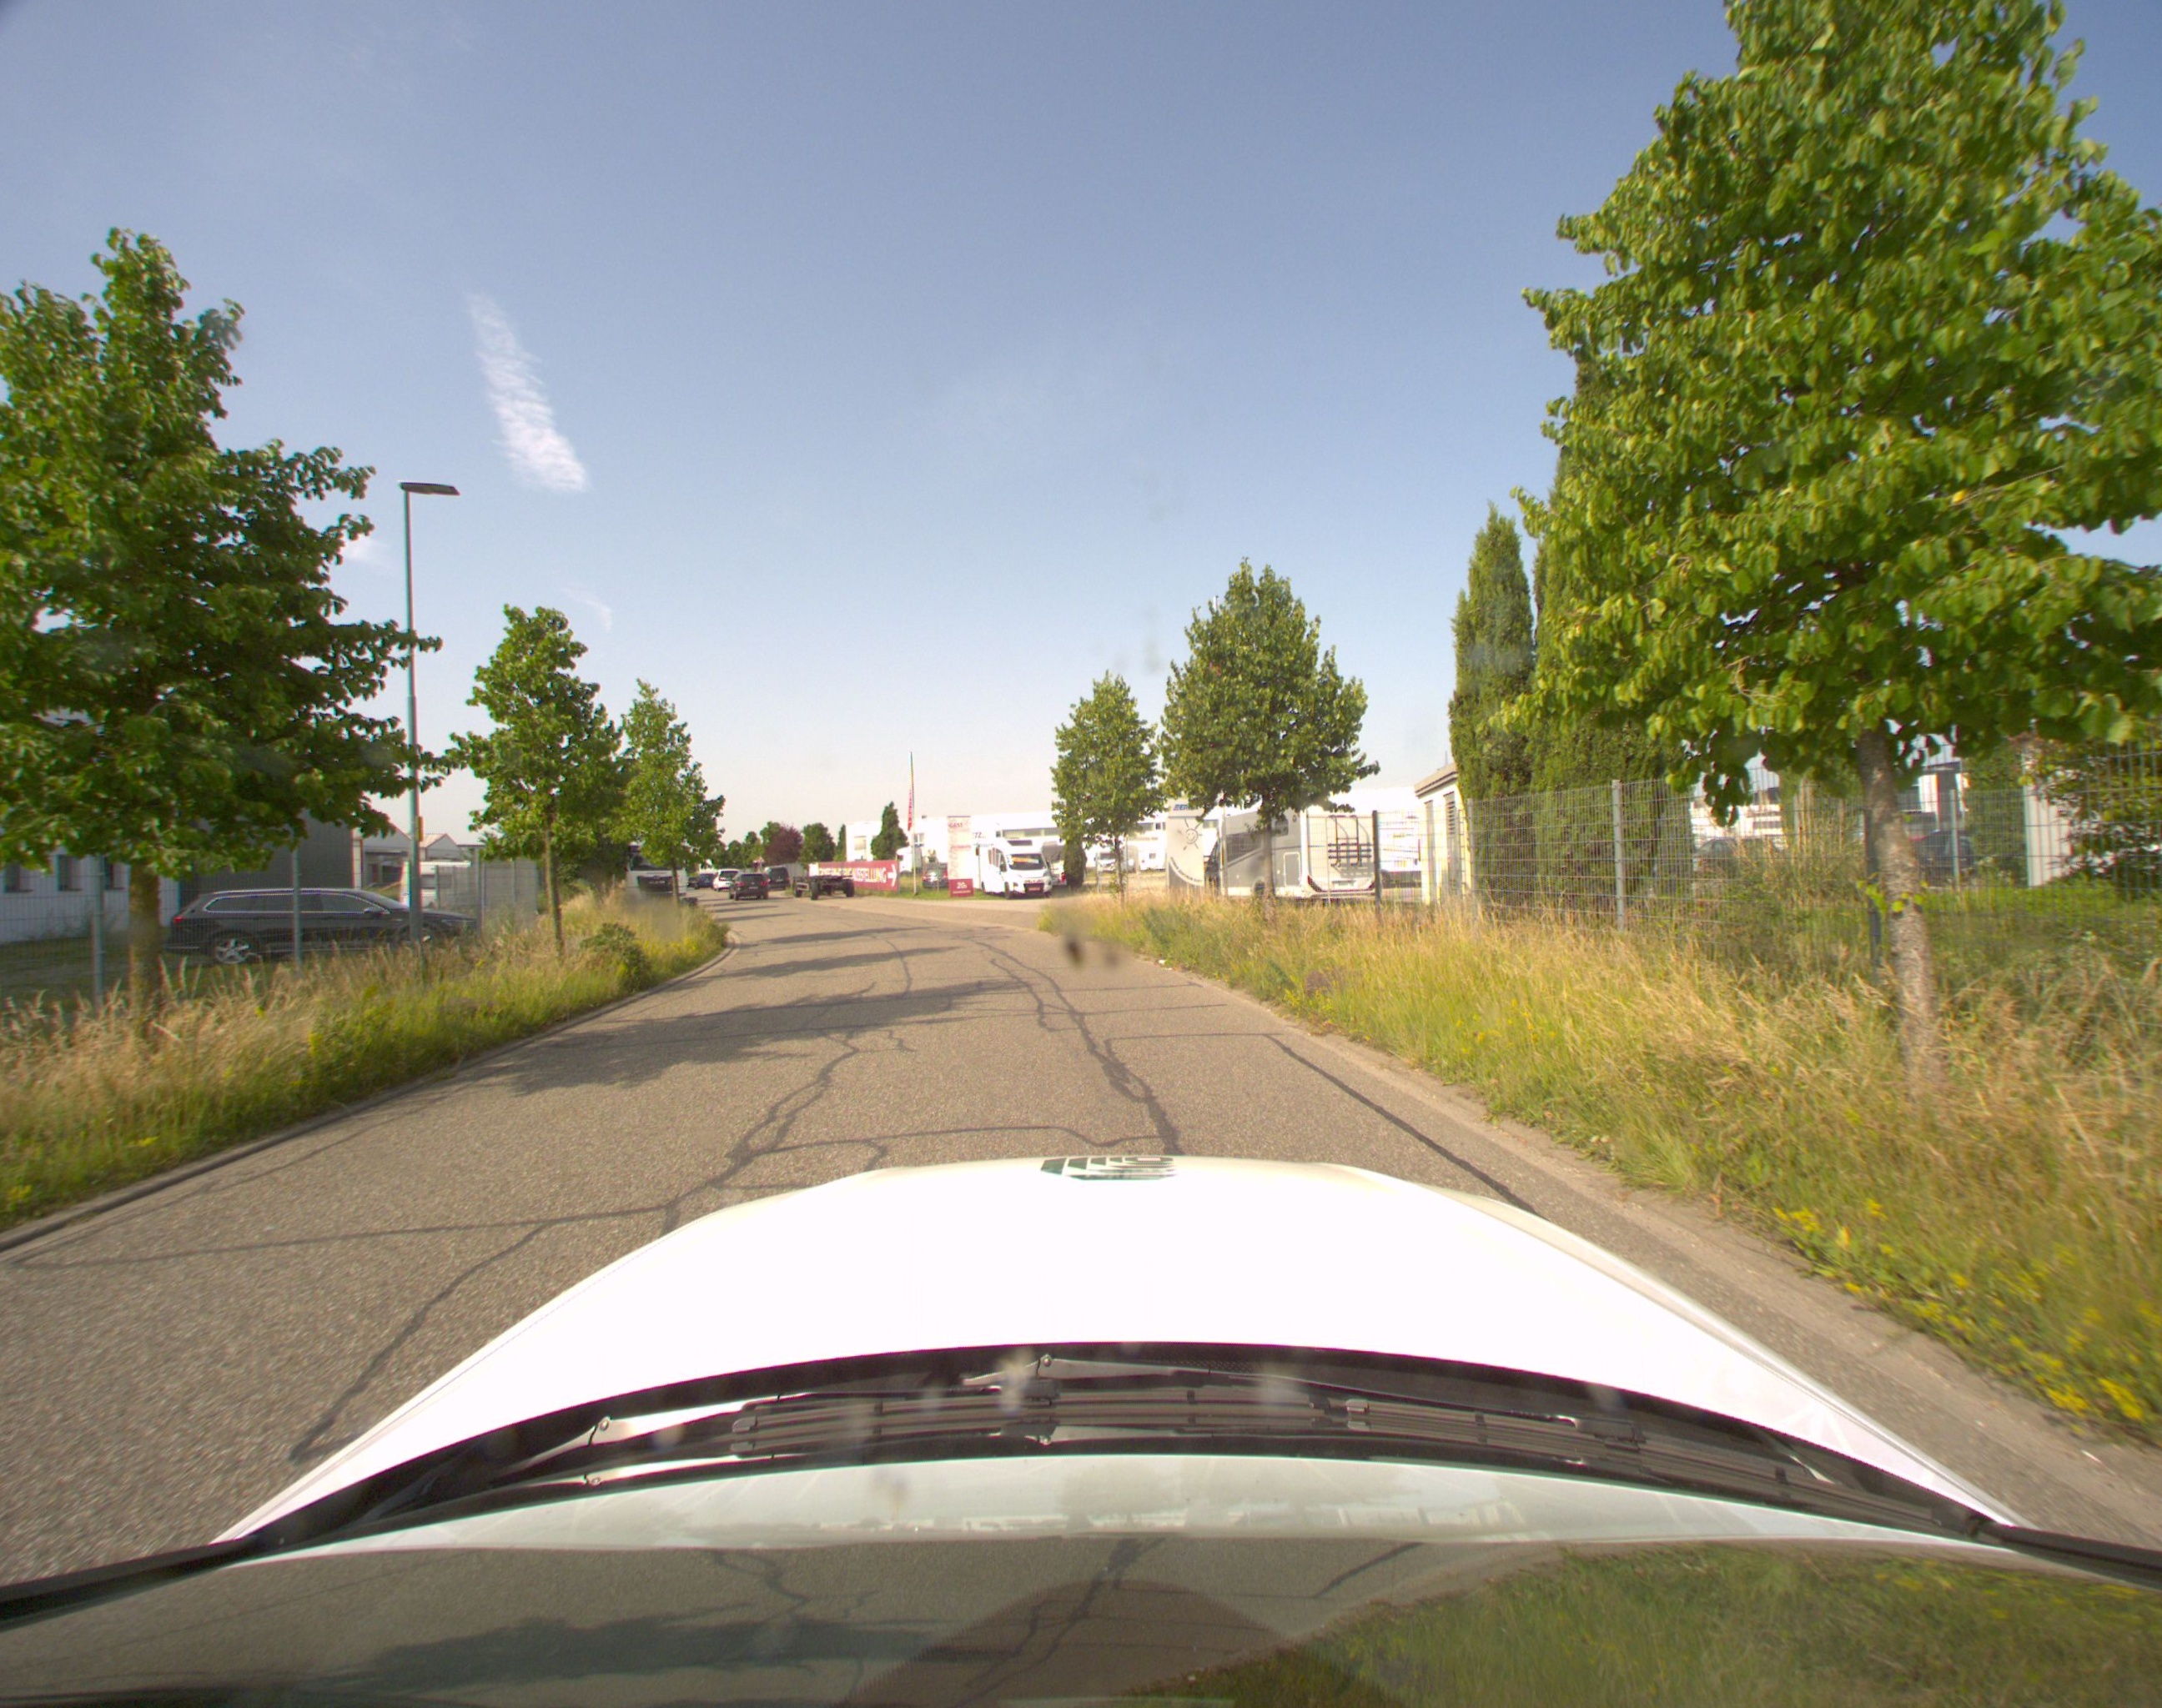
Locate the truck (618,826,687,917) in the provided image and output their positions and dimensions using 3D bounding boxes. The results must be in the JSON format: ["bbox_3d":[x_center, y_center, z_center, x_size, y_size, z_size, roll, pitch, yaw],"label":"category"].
[{"bbox_3d":[-21.901,0.889,41.678,2.641,3.929,12.800,-1,-1,-28],"label":"truck"}]

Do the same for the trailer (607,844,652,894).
[{"bbox_3d":[-43.824,1.477,79.271,3.424,4.340,13.789,-2,-1,-29],"label":"trailer"}]

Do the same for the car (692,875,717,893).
[{"bbox_3d":[-38.025,3.019,82.243,2.006,1.640,3.962,-1,-1,-29],"label":"car"}]

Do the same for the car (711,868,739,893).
[{"bbox_3d":[-29.779,2.151,67.973,2.003,1.899,4.430,-1,0,-25],"label":"car"}]

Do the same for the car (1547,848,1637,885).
[{"bbox_3d":[20.332,0.484,32.598,1.699,1.379,4.011,0,0,10],"label":"car"}]

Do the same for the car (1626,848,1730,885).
[{"bbox_3d":[23.332,0.471,32.011,1.699,1.379,4.011,0,0,10],"label":"car"}]

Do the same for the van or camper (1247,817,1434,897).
[{"bbox_3d":[10.764,0.159,34.446,7.214,3.032,2.592,-2,-1,10],"label":"van or camper"}]

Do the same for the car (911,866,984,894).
[{"bbox_3d":[-7.871,1.505,48.346,2.145,1.477,4.025,-2,-1,31],"label":"car"}]

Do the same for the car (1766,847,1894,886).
[{"bbox_3d":[28.171,0.450,30.822,1.699,1.379,4.011,0,0,10],"label":"car"}]

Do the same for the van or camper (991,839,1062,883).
[{"bbox_3d":[-3.974,0.472,62.072,2.777,3.084,8.003,-2,0,16],"label":"van or camper"}]

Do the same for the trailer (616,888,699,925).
[{"bbox_3d":[-16.185,1.916,30.967,2.590,1.100,5.151,-1,-1,-30],"label":"trailer"}]

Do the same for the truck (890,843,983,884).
[{"bbox_3d":[-15.194,1.030,85.743,9.218,3.972,2.468,-2,0,13],"label":"truck"}]

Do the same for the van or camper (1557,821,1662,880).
[{"bbox_3d":[25.407,-0.107,39.520,2.202,2.525,6.634,-2,-1,14],"label":"van or camper"}]

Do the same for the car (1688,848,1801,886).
[{"bbox_3d":[25.662,0.461,31.668,1.699,1.379,4.011,0,0,10],"label":"car"}]

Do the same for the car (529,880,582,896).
[{"bbox_3d":[-51.025,3.306,79.134,4.004,1.340,1.605,-2,0,-23],"label":"car"}]

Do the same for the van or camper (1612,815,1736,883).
[{"bbox_3d":[27.563,-0.155,38.225,2.304,2.864,6.634,-2,-1,14],"label":"van or camper"}]

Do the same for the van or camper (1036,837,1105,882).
[{"bbox_3d":[-0.647,0.358,61.187,2.927,3.084,8.003,-2,0,16],"label":"van or camper"}]

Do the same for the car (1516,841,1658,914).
[{"bbox_3d":[12.520,0.523,20.437,1.711,1.643,4.012,0,0,11],"label":"car"}]

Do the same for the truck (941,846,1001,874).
[{"bbox_3d":[-10.357,0.505,77.734,2.431,2.471,8.038,-2,0,17],"label":"truck"}]

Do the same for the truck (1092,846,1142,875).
[{"bbox_3d":[3.374,0.521,73.900,2.431,2.471,8.038,-2,0,17],"label":"truck"}]

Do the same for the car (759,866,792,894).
[{"bbox_3d":[-24.105,1.992,64.173,1.829,1.978,3.964,-5,2,-27],"label":"car"}]

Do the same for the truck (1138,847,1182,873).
[{"bbox_3d":[7.391,0.507,75.535,2.431,2.265,8.038,-2,0,17],"label":"truck"}]

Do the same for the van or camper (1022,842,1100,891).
[{"bbox_3d":[-1.007,0.628,46.761,2.464,2.559,6.654,-2,0,16],"label":"van or camper"}]

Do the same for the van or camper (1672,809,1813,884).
[{"bbox_3d":[30.602,-0.288,38.048,2.466,3.129,6.634,-2,-1,14],"label":"van or camper"}]

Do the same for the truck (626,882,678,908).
[{"bbox_3d":[-25.803,2.381,48.891,2.540,1.265,6.464,-2,0,-30],"label":"truck"}]

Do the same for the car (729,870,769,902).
[{"bbox_3d":[-20.446,1.926,50.090,2.004,1.805,3.966,-1,0,-26],"label":"car"}]

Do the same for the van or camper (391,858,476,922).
[{"bbox_3d":[-28.256,1.526,35.708,2.321,2.560,4.903,-2,-1,-32],"label":"van or camper"}]

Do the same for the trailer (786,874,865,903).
[{"bbox_3d":[-15.567,1.997,49.043,2.640,1.388,9.364,-4,1,-29],"label":"trailer"}]

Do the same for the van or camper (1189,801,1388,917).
[{"bbox_3d":[5.682,0.165,23.863,2.353,2.848,7.304,-1,-1,-15],"label":"van or camper"}]

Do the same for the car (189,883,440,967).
[{"bbox_3d":[-15.583,1.378,16.823,3.516,1.454,1.581,-1,-1,-32],"label":"car"}]

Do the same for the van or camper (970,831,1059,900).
[{"bbox_3d":[-3.356,0.546,39.178,2.340,2.943,6.921,-2,0,-21],"label":"van or camper"}]

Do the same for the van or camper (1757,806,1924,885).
[{"bbox_3d":[33.479,-0.300,36.288,2.466,3.129,6.634,-2,-1,14],"label":"van or camper"}]
